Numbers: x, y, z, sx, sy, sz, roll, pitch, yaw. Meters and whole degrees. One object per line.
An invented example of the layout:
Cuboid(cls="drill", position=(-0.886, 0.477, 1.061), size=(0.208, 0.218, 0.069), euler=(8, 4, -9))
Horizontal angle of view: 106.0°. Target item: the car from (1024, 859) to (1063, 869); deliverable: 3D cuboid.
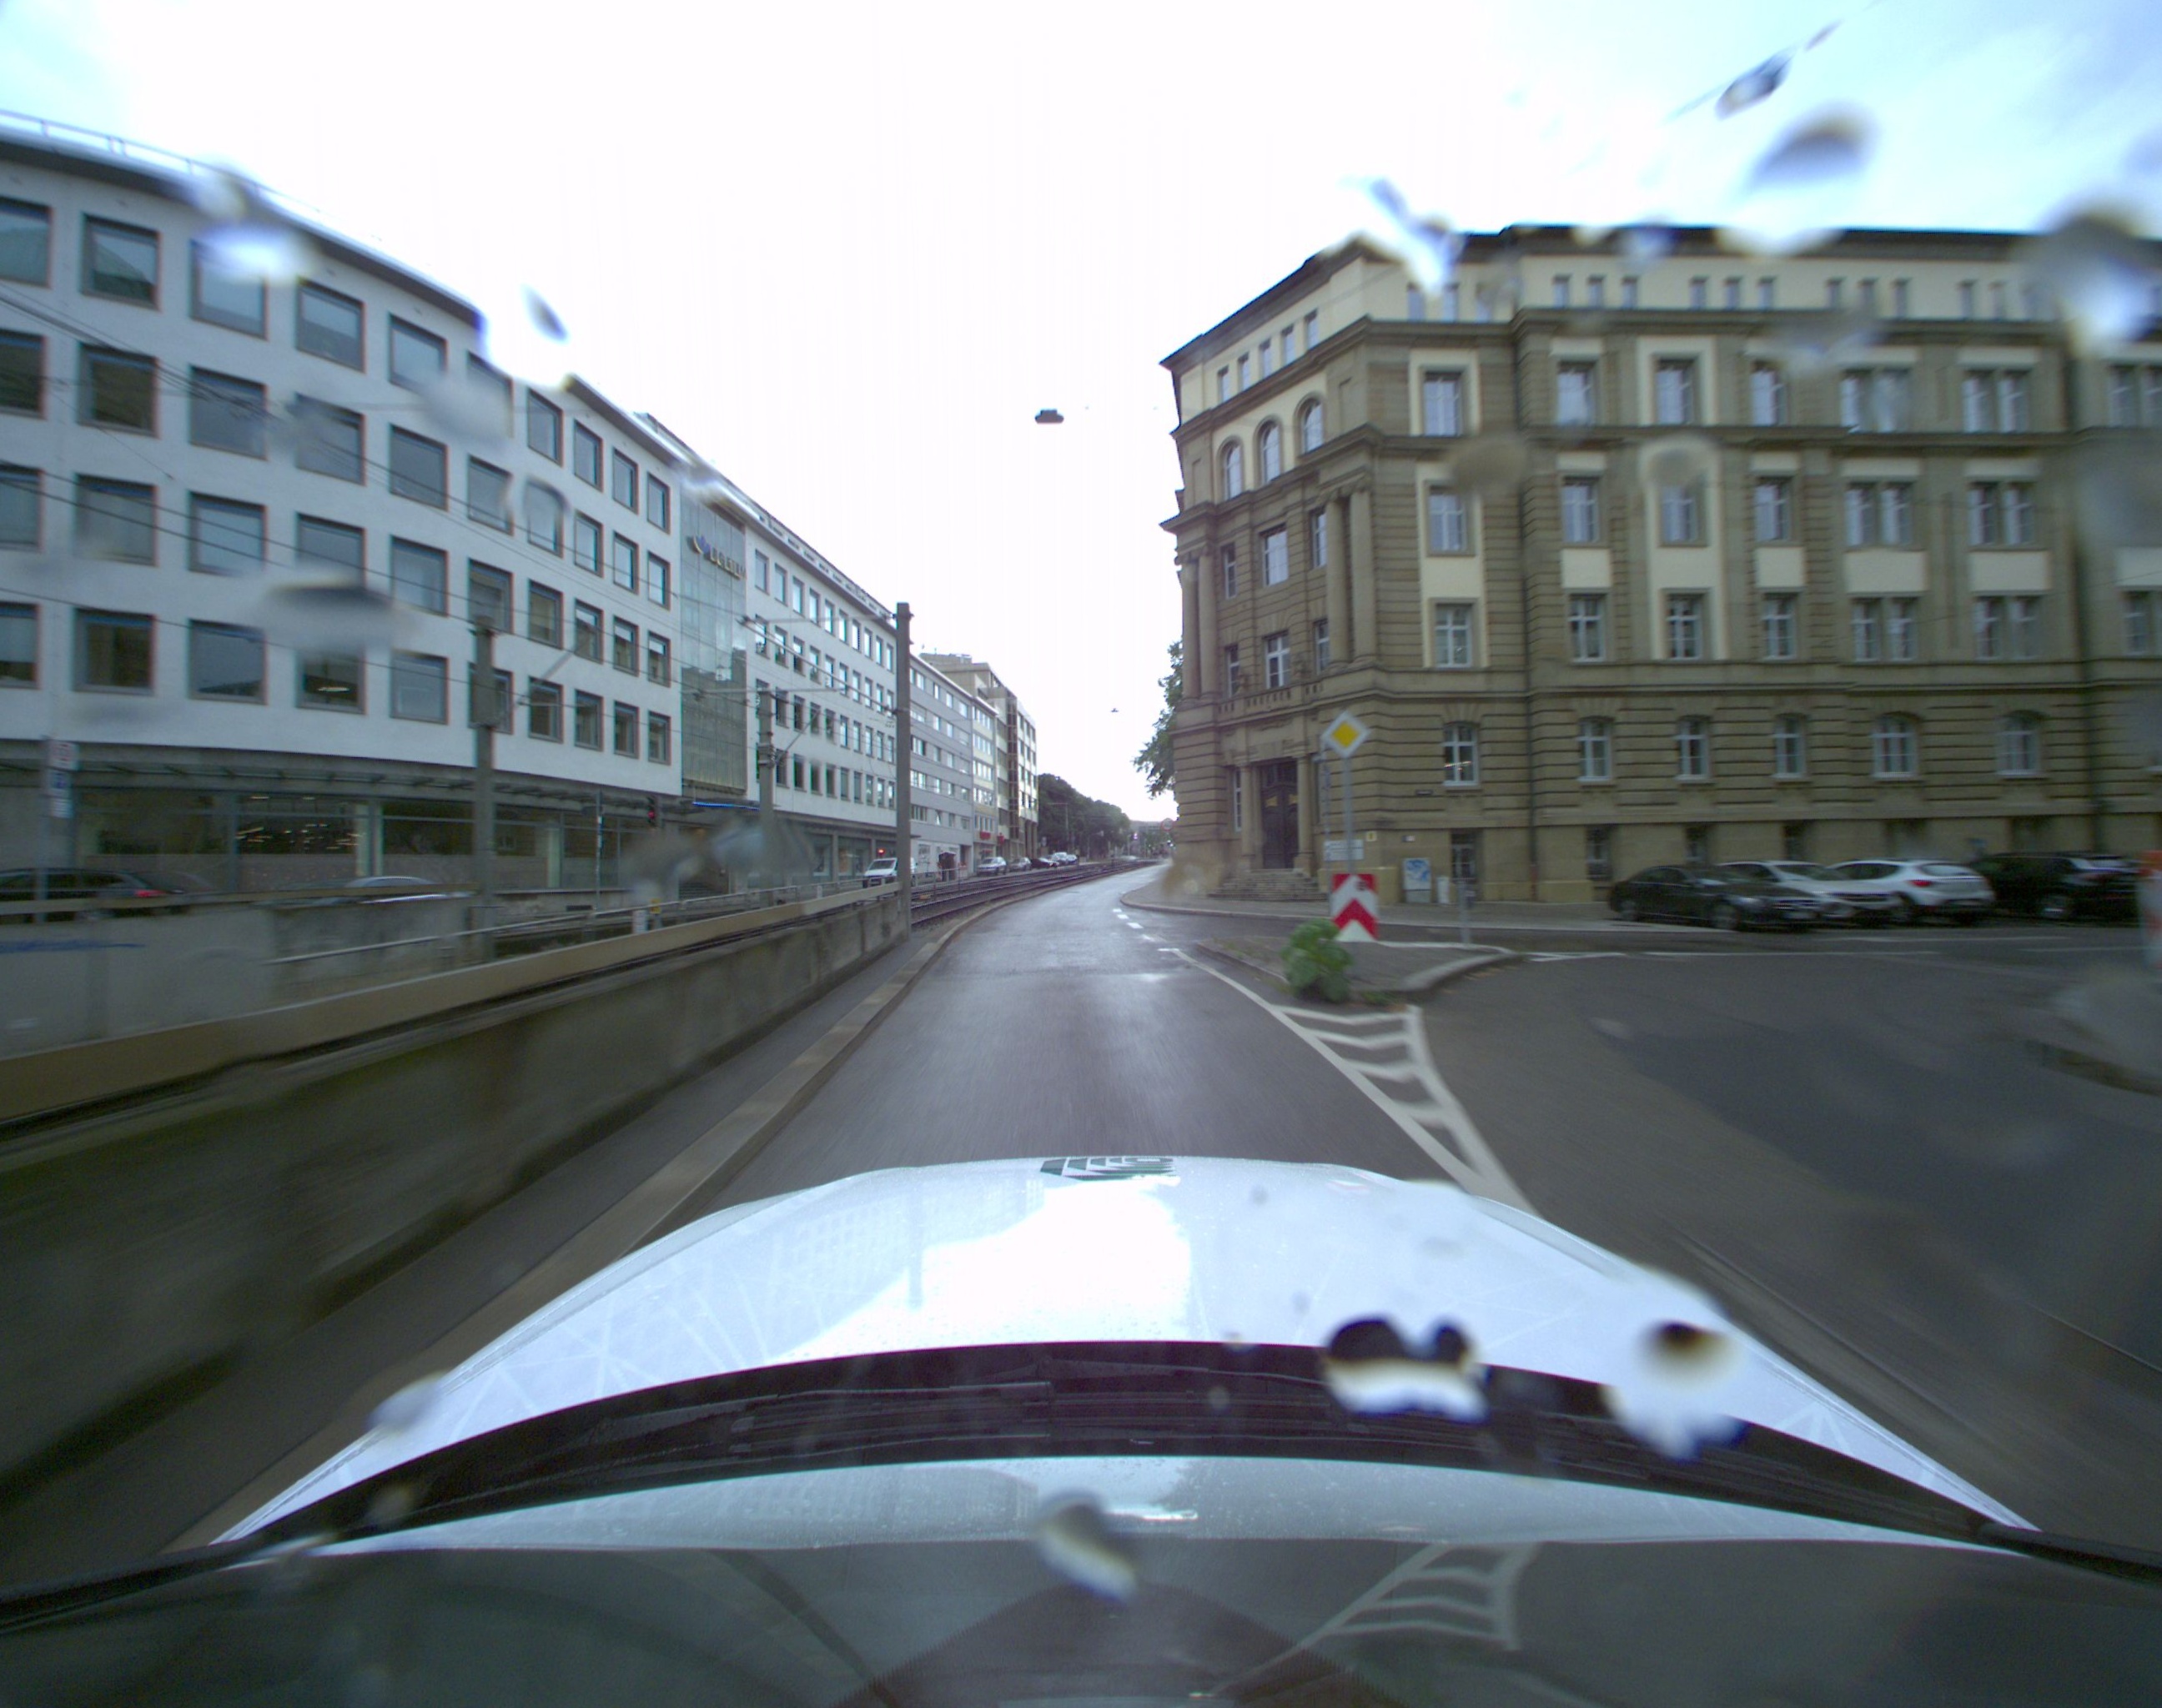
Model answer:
Cuboid(cls="car", position=(-4.247, 1.142, 91.763), size=(4.256, 1.163, 2.012), euler=(-1, -1, 41))

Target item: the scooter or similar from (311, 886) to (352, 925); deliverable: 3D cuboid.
Cuboid(cls="scooter or similar", position=(-20.914, 1.421, 22.731), size=(0.814, 1.044, 0.551), euler=(-1, -1, 22))

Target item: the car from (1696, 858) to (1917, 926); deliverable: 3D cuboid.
Cuboid(cls="car", position=(17.244, 0.838, 19.703), size=(1.726, 1.455, 4.335), euler=(0, -1, 4))

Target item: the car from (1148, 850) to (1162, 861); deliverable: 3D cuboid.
Cuboid(cls="car", position=(11.393, 0.296, 125.091), size=(1.983, 1.662, 4.008), euler=(0, -1, 7))

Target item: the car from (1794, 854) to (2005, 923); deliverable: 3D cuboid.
Cuboid(cls="car", position=(19.618, 0.778, 19.763), size=(1.673, 1.517, 3.580), euler=(0, -1, 4))

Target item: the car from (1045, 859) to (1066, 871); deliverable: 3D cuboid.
Cuboid(cls="car", position=(-3.109, 1.360, 99.530), size=(1.983, 1.456, 4.319), euler=(0, -1, 7))

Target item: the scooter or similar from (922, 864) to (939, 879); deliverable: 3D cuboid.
Cuboid(cls="scooter or similar", position=(-12.288, 1.424, 66.435), size=(0.760, 1.220, 2.069), euler=(0, -1, 7))

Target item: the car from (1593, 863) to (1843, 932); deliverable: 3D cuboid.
Cuboid(cls="car", position=(14.580, 0.913, 19.111), size=(1.731, 1.367, 4.995), euler=(0, -1, -4))

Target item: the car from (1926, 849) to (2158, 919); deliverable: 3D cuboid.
Cuboid(cls="car", position=(23.551, 0.700, 20.186), size=(1.673, 1.576, 3.580), euler=(0, -1, 4))

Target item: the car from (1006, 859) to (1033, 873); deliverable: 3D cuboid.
Cuboid(cls="car", position=(-6.302, 1.236, 83.666), size=(1.983, 1.456, 4.319), euler=(0, -1, 7))

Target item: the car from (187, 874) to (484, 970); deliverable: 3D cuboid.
Cuboid(cls="car", position=(-13.679, 1.166, 15.290), size=(1.983, 1.527, 3.670), euler=(0, -1, 7))

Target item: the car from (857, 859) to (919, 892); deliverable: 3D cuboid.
Cuboid(cls="car", position=(-11.545, 1.255, 49.114), size=(1.983, 1.883, 4.936), euler=(0, -1, 7))

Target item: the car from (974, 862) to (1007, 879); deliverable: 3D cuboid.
Cuboid(cls="car", position=(-7.896, 1.413, 71.514), size=(1.983, 1.456, 4.319), euler=(0, -1, 7))

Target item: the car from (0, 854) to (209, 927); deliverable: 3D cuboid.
Cuboid(cls="car", position=(-24.166, 0.890, 19.059), size=(4.793, 1.522, 1.660), euler=(-2, -1, -29))

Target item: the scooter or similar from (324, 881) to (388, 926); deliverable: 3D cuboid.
Cuboid(cls="scooter or similar", position=(-20.086, 1.350, 22.581), size=(0.541, 1.178, 1.193), euler=(-1, -1, 22))

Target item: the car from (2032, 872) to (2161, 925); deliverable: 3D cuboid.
Cuboid(cls="car", position=(26.284, 1.069, 20.058), size=(1.673, 1.195, 3.580), euler=(0, -1, 4))

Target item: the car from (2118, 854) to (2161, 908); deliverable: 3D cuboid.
Cuboid(cls="car", position=(28.681, 0.678, 20.126), size=(1.673, 1.393, 3.580), euler=(0, -1, 4))

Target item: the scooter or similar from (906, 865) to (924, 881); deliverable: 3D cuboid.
Cuboid(cls="scooter or similar", position=(-12.700, 1.430, 62.335), size=(0.760, 1.220, 2.069), euler=(0, -1, 7))

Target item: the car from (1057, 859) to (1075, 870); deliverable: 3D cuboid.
Cuboid(cls="car", position=(-2.039, 1.431, 112.192), size=(1.983, 1.456, 4.319), euler=(0, -1, 7))
